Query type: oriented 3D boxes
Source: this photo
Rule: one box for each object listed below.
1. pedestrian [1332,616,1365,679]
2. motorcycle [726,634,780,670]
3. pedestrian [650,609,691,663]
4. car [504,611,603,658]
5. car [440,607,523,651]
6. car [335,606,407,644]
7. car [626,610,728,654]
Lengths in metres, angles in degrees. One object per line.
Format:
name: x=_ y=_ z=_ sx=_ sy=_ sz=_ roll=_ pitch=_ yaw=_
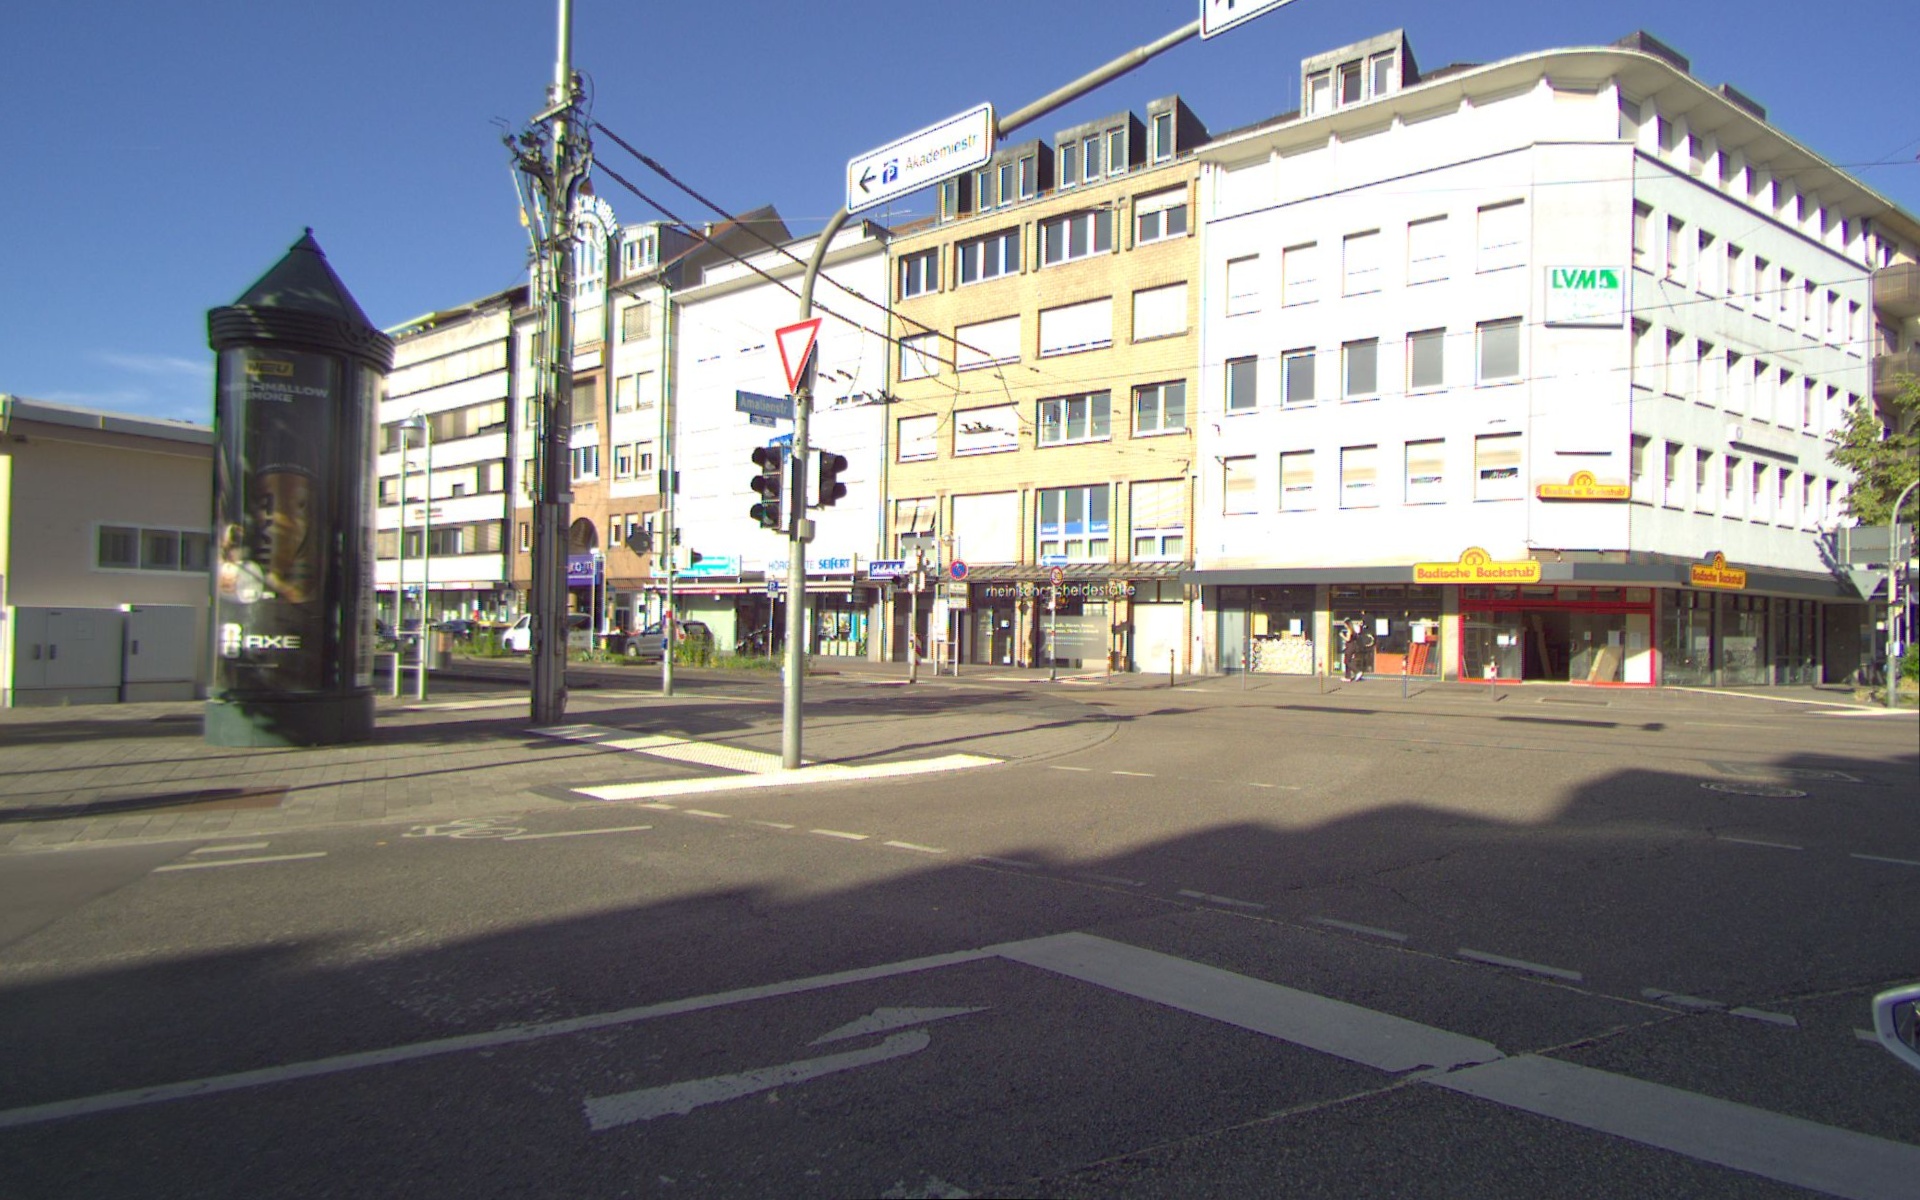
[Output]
pedestrian: x=10.880 y=1.335 z=28.133 sx=0.705 sy=1.732 sz=0.555 roll=2 pitch=-2 yaw=-33
motorcycle: x=-9.116 y=2.287 z=44.324 sx=0.983 sy=1.525 sz=2.250 roll=0 pitch=-2 yaw=33
pedestrian: x=-9.209 y=1.146 z=31.984 sx=0.898 sy=1.685 sz=0.946 roll=1 pitch=-2 yaw=7
car: x=-18.673 y=1.564 z=46.075 sx=4.764 sy=2.040 sz=1.993 roll=0 pitch=-2 yaw=36
car: x=-23.248 y=1.407 z=48.785 sx=3.935 sy=2.040 sz=1.993 roll=0 pitch=-2 yaw=36
car: x=-32.345 y=1.367 z=55.123 sx=3.935 sy=2.040 sz=1.993 roll=0 pitch=-2 yaw=36
car: x=-11.672 y=1.309 z=41.366 sx=3.935 sy=1.728 sz=1.993 roll=0 pitch=-2 yaw=36
